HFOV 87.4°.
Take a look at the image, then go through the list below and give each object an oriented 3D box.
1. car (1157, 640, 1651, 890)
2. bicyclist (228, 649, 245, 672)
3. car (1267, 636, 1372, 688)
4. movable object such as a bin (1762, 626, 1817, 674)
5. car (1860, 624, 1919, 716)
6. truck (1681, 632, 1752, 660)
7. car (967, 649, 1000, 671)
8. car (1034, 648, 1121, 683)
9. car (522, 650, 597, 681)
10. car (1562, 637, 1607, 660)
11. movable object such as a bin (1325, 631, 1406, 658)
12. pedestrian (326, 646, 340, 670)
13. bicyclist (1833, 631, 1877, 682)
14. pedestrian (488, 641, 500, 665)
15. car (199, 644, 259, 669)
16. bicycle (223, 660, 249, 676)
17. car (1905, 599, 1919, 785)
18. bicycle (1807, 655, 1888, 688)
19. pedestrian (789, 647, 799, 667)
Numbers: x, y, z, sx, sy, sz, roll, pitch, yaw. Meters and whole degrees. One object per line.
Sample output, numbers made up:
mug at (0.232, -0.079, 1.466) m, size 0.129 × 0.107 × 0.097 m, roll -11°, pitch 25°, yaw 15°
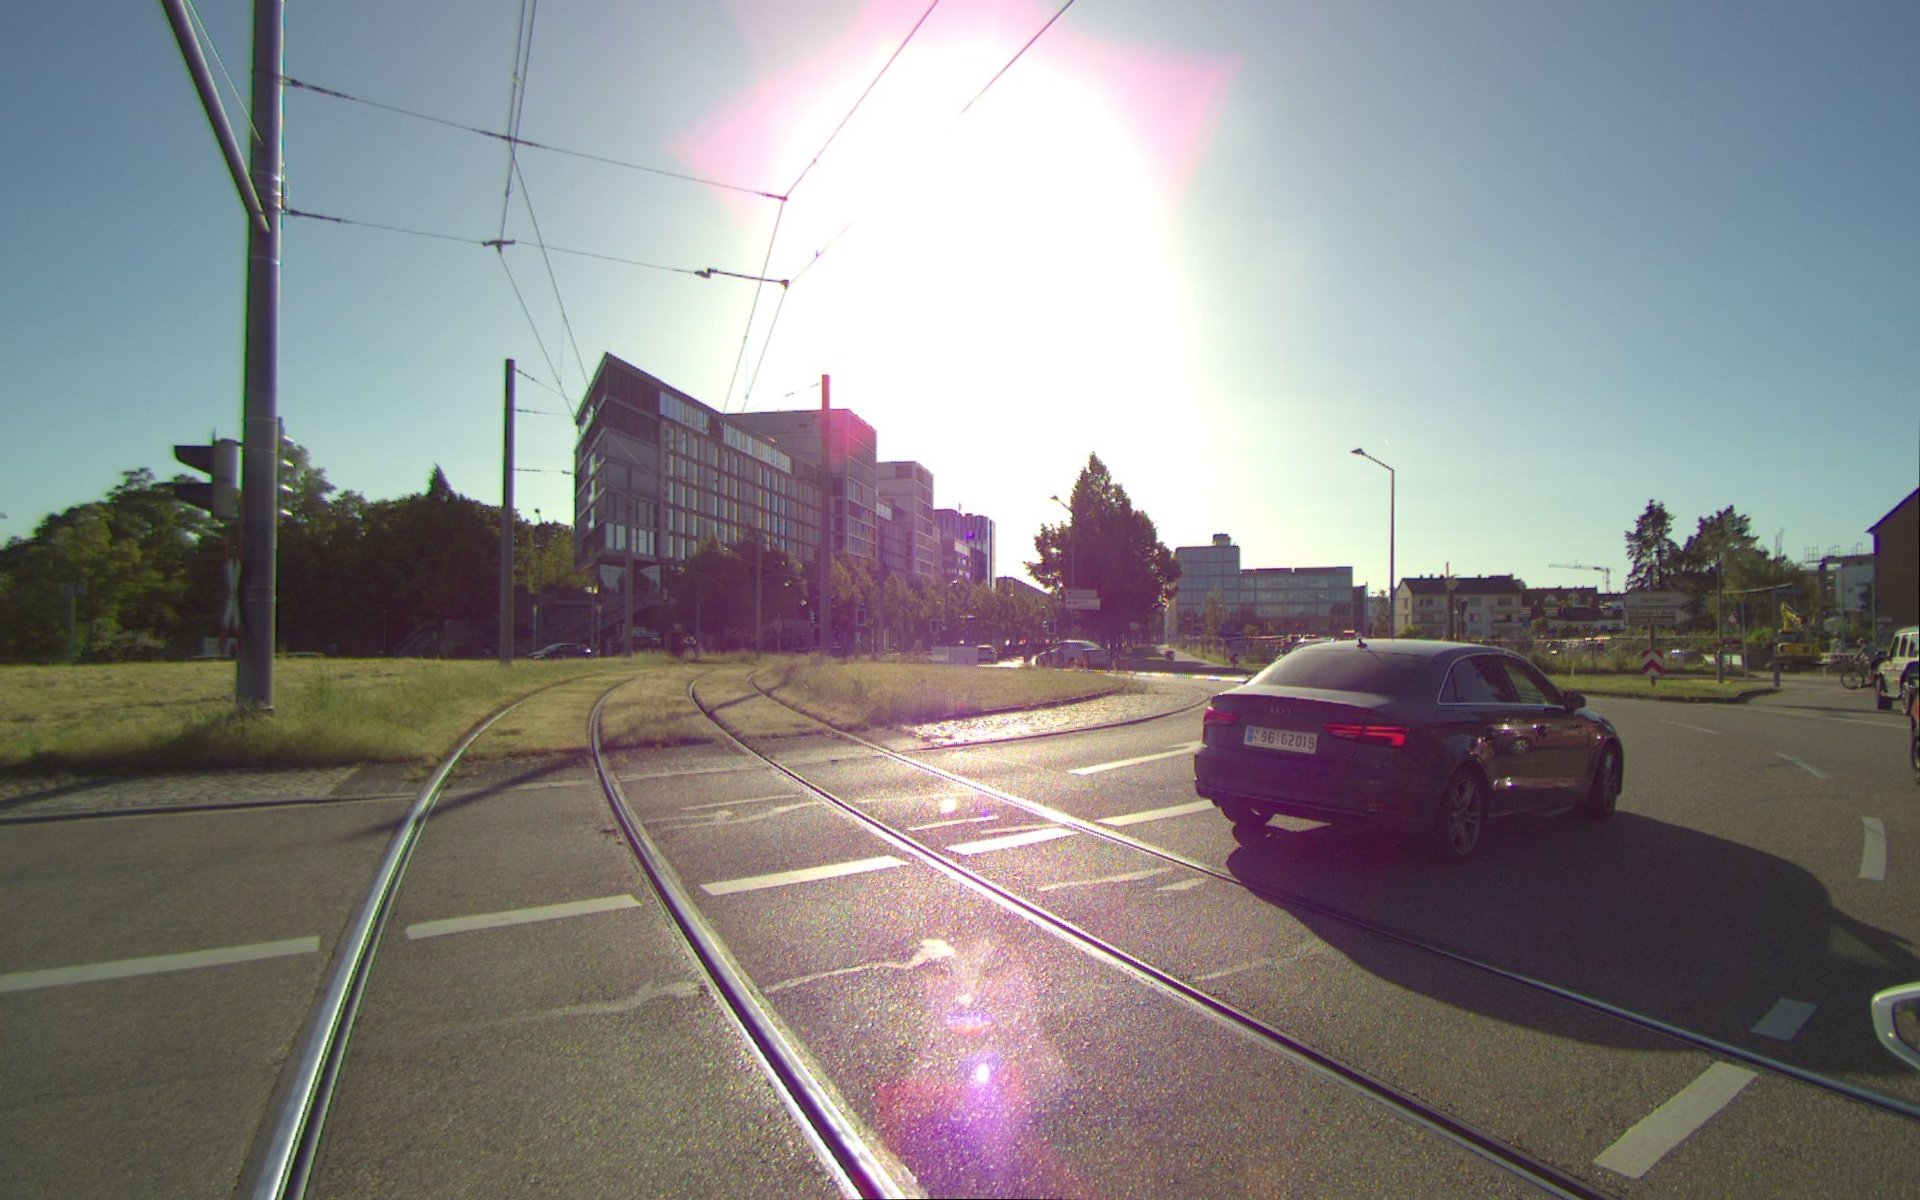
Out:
car at (3.598, 1.020, 7.767) m, size 4.322 × 1.398 × 1.746 m, roll 2°, pitch -2°, yaw -39°
bicyclist at (-47.536, 3.965, 66.006) m, size 0.576 × 1.487 × 0.755 m, roll 1°, pitch -3°, yaw -9°
car at (11.599, 1.966, 32.669) m, size 1.774 × 1.481 × 3.807 m, roll 1°, pitch -1°, yaw -5°
movable object such as a bin at (51.551, 3.066, 62.477) m, size 2.388 × 2.810 × 3.986 m, roll 1°, pitch -2°, yaw 36°
car at (22.040, 1.549, 22.622) m, size 1.970 × 1.922 × 4.739 m, roll -1°, pitch -3°, yaw 34°
truck at (60.325, 3.614, 80.240) m, size 2.127 × 2.040 × 6.440 m, roll 1°, pitch -2°, yaw 14°
car at (1.905, 4.678, 79.143) m, size 1.959 × 1.596 × 4.411 m, roll -1°, pitch -2°, yaw 10°
car at (5.673, 3.153, 49.134) m, size 1.977 × 1.596 × 4.372 m, roll 1°, pitch -2°, yaw -31°
car at (-24.525, 3.982, 61.526) m, size 1.751 × 1.808 × 3.894 m, roll -2°, pitch -3°, yaw 44°
car at (60.017, 4.673, 96.593) m, size 1.959 × 2.040 × 4.502 m, roll 2°, pitch -1°, yaw 7°
movable object such as a bin at (43.635, 4.759, 108.334) m, size 7.772 × 2.819 × 2.945 m, roll 0°, pitch -2°, yaw 14°
pedestrian at (-42.718, 3.944, 68.450) m, size 0.754 × 1.651 × 0.876 m, roll 1°, pitch -2°, yaw -36°
bicyclist at (30.954, 1.929, 34.733) m, size 0.731 × 1.703 × 0.850 m, roll -2°, pitch 0°, yaw -20°
pedestrian at (-38.709, 4.393, 83.444) m, size 0.821 × 2.040 × 0.638 m, roll 1°, pitch -2°, yaw -18°
car at (-56.602, 4.335, 77.875) m, size 3.706 × 1.829 × 1.821 m, roll 1°, pitch -2°, yaw -35°
bicycle at (-47.550, 4.467, 65.983) m, size 0.576 × 1.025 × 1.868 m, roll 1°, pitch -3°, yaw -9°
car at (9.614, 0.882, 8.626) m, size 1.780 × 1.837 × 3.794 m, roll 0°, pitch -1°, yaw 37°
bicycle at (30.891, 2.472, 34.989) m, size 0.731 × 1.041 × 2.001 m, roll -2°, pitch -1°, yaw -20°
pedestrian at (-12.434, 4.297, 75.454) m, size 0.545 × 1.485 × 0.678 m, roll 0°, pitch -2°, yaw 8°
